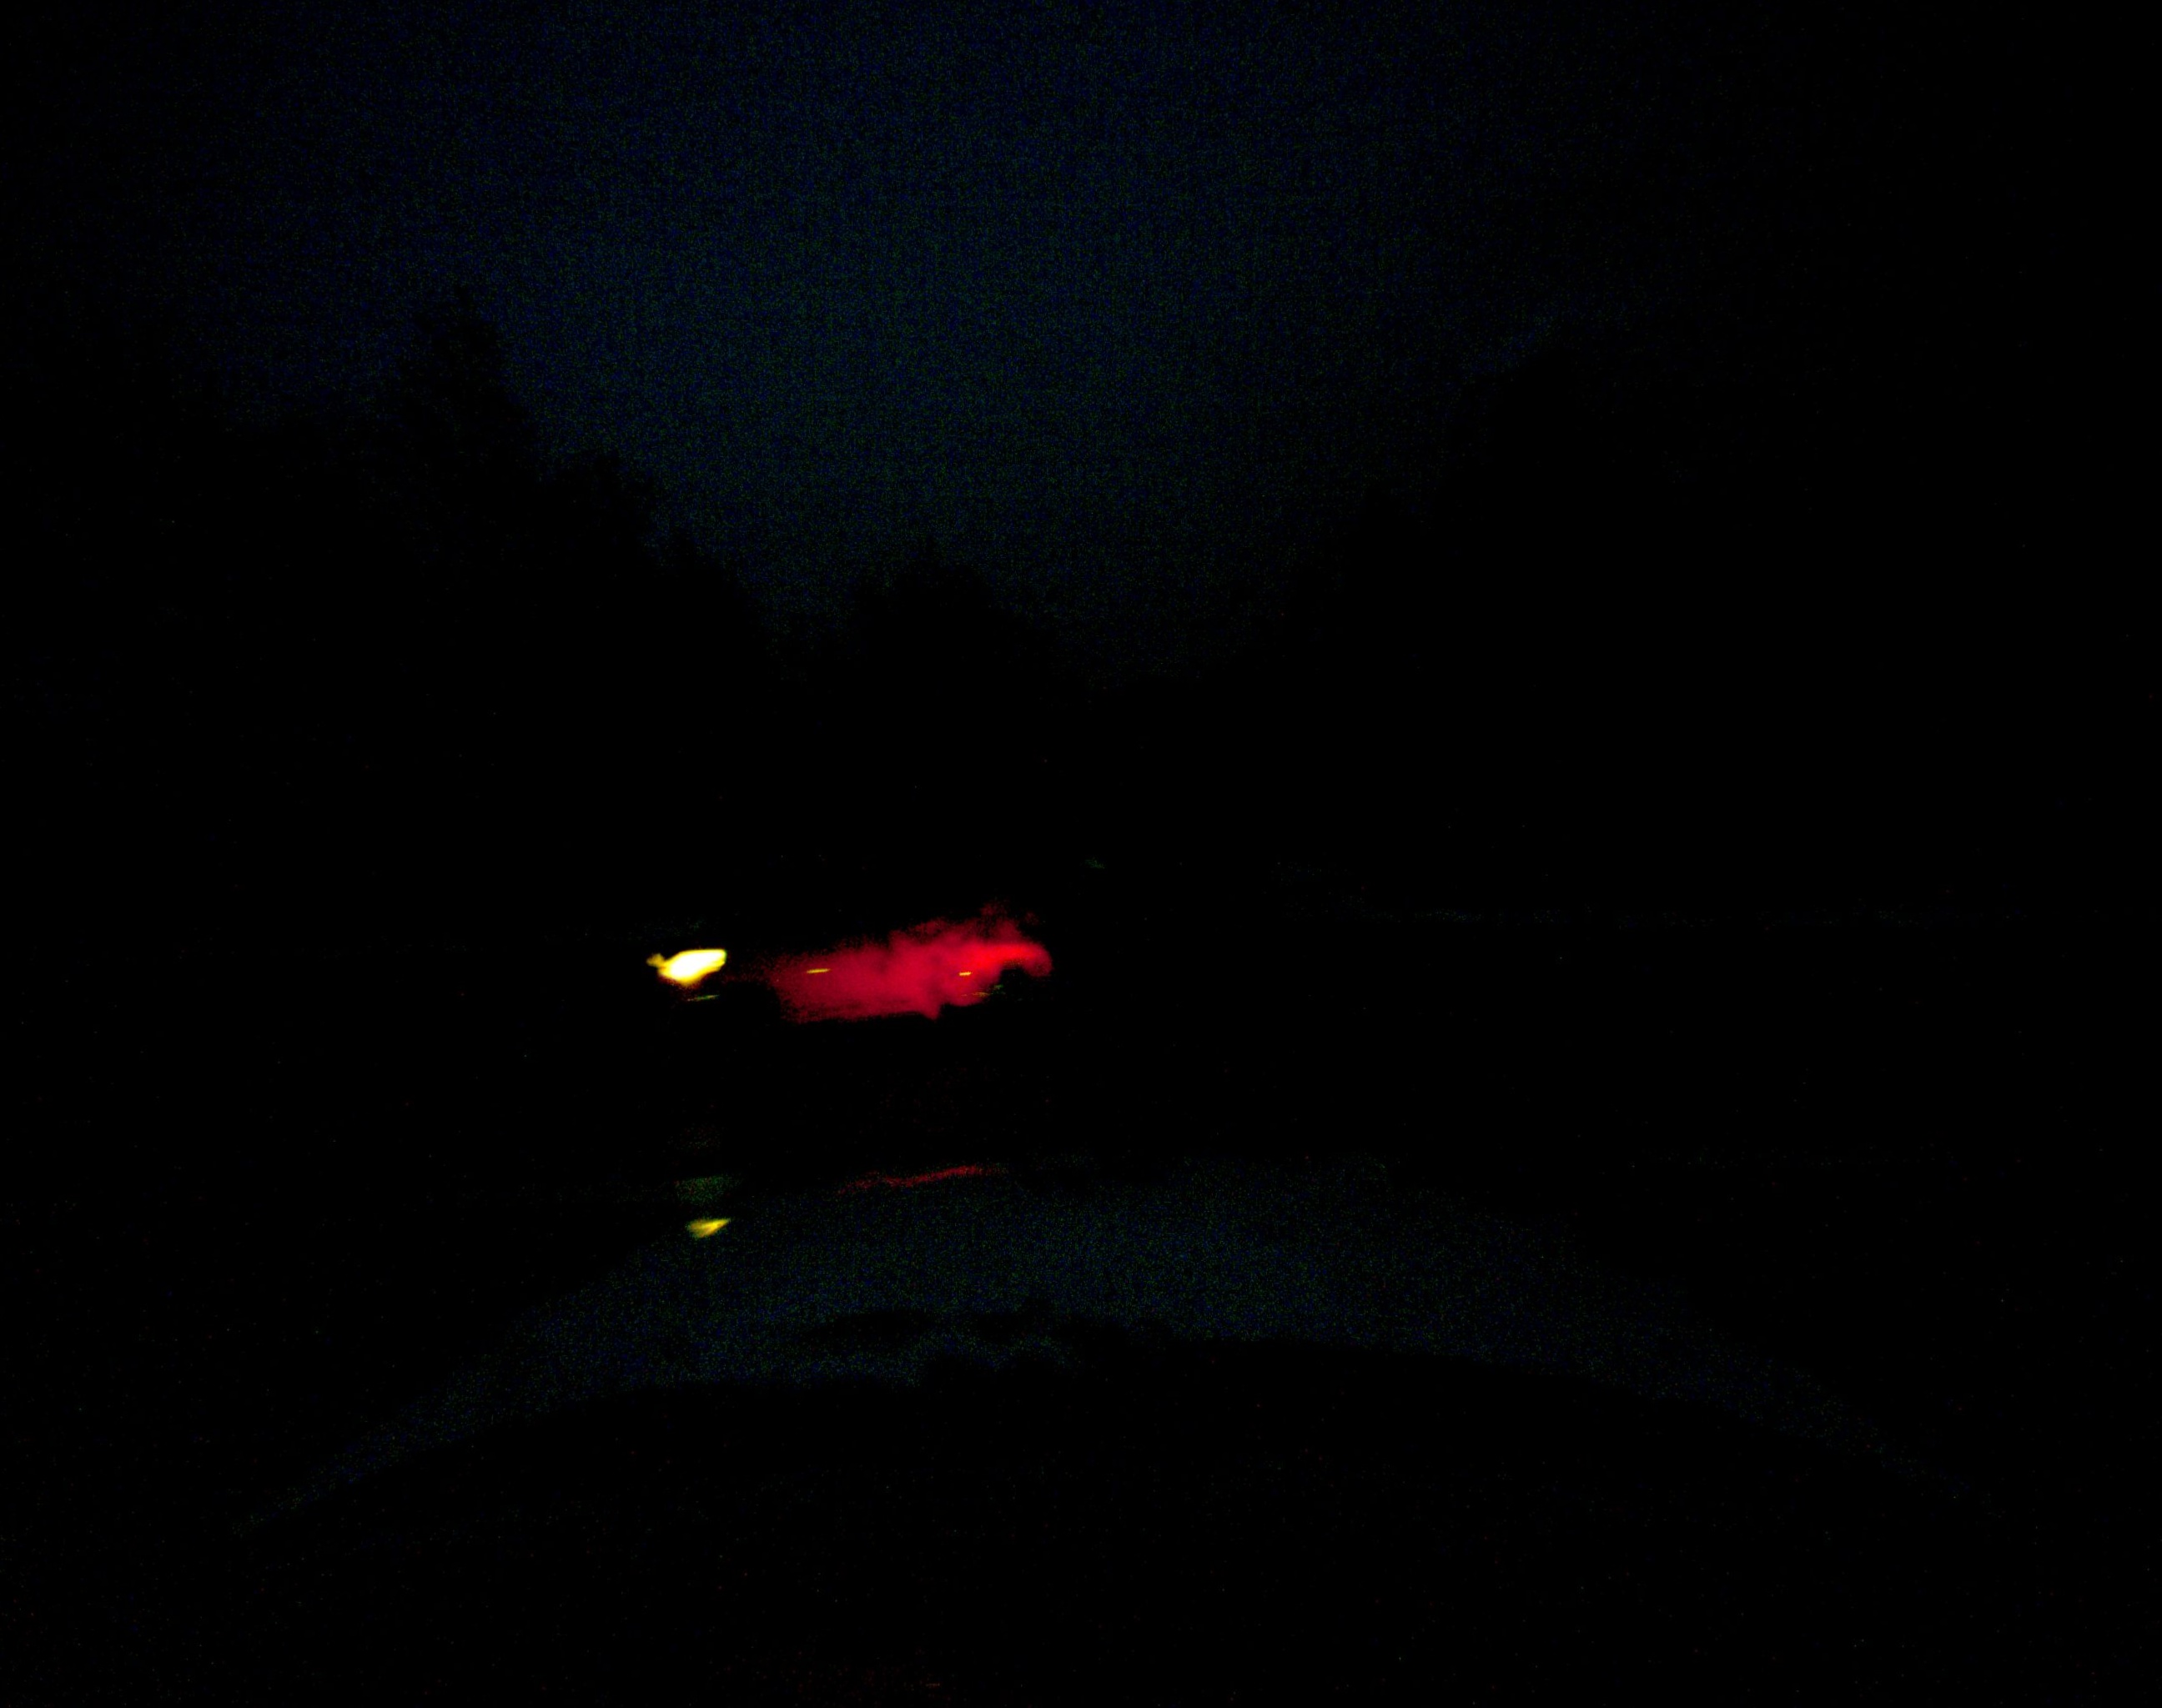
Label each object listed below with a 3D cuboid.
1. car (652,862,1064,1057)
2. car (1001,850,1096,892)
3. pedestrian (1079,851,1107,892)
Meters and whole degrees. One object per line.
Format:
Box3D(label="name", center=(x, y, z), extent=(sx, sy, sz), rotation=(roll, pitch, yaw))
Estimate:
Box3D(label="car", center=(-2.032, 0.815, 7.626), extent=(3.418, 1.452, 1.564), rotation=(0, -1, -25))
Box3D(label="car", center=(-1.470, 0.780, 37.709), extent=(3.915, 1.881, 2.009), rotation=(0, -2, 18))
Box3D(label="pedestrian", center=(0.544, 0.774, 36.420), extent=(0.952, 1.828, 0.930), rotation=(-1, -2, 23))
